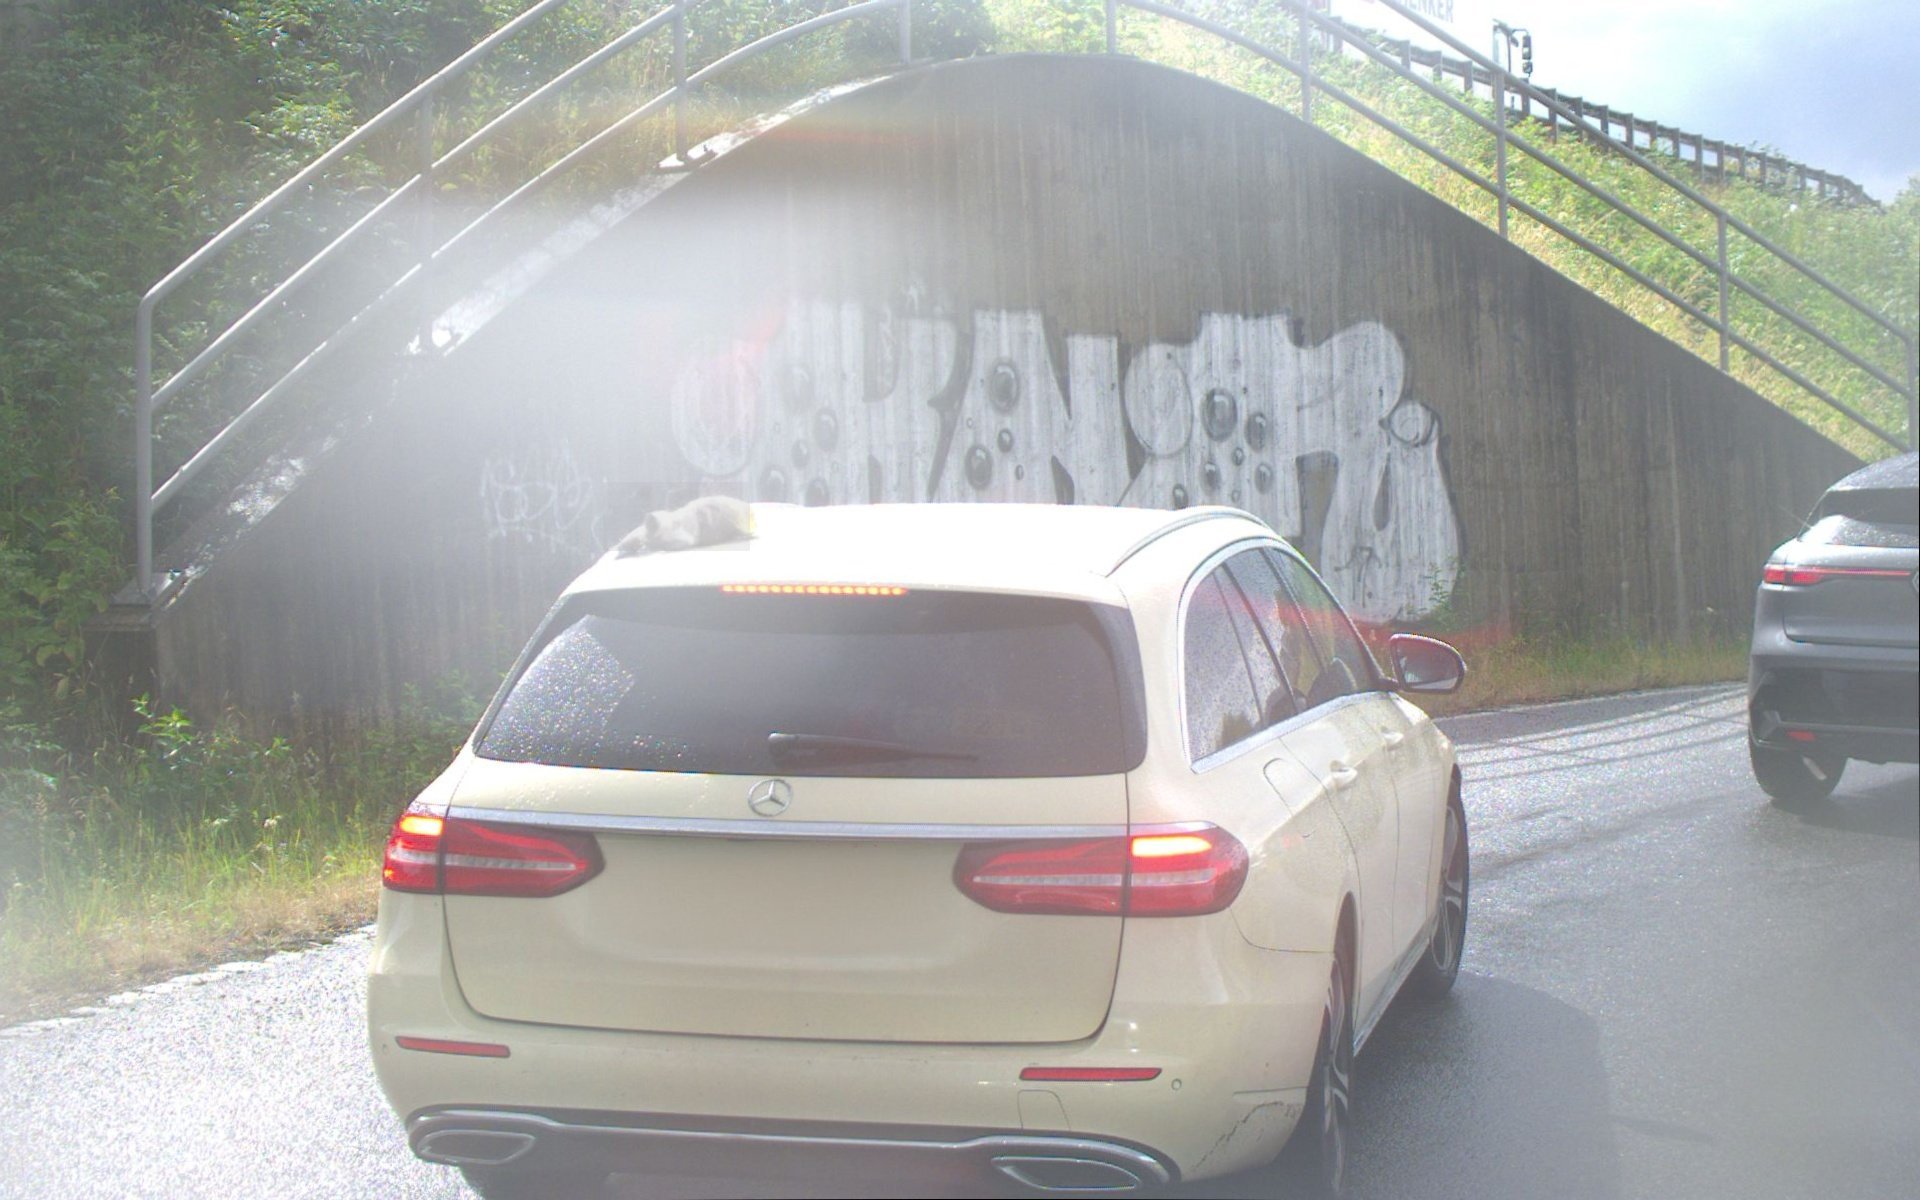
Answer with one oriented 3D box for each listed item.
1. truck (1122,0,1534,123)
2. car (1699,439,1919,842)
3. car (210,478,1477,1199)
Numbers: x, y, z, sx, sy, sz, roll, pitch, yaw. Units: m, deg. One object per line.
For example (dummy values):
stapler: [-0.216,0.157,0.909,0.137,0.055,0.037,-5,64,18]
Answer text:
truck: [5.829,-9.821,52.467,3.185,3.952,9.224,1,1,27]
car: [4.840,0.077,14.815,1.722,1.519,3.992,3,4,36]
car: [0.105,0.489,8.131,1.917,1.502,4.594,0,2,12]
